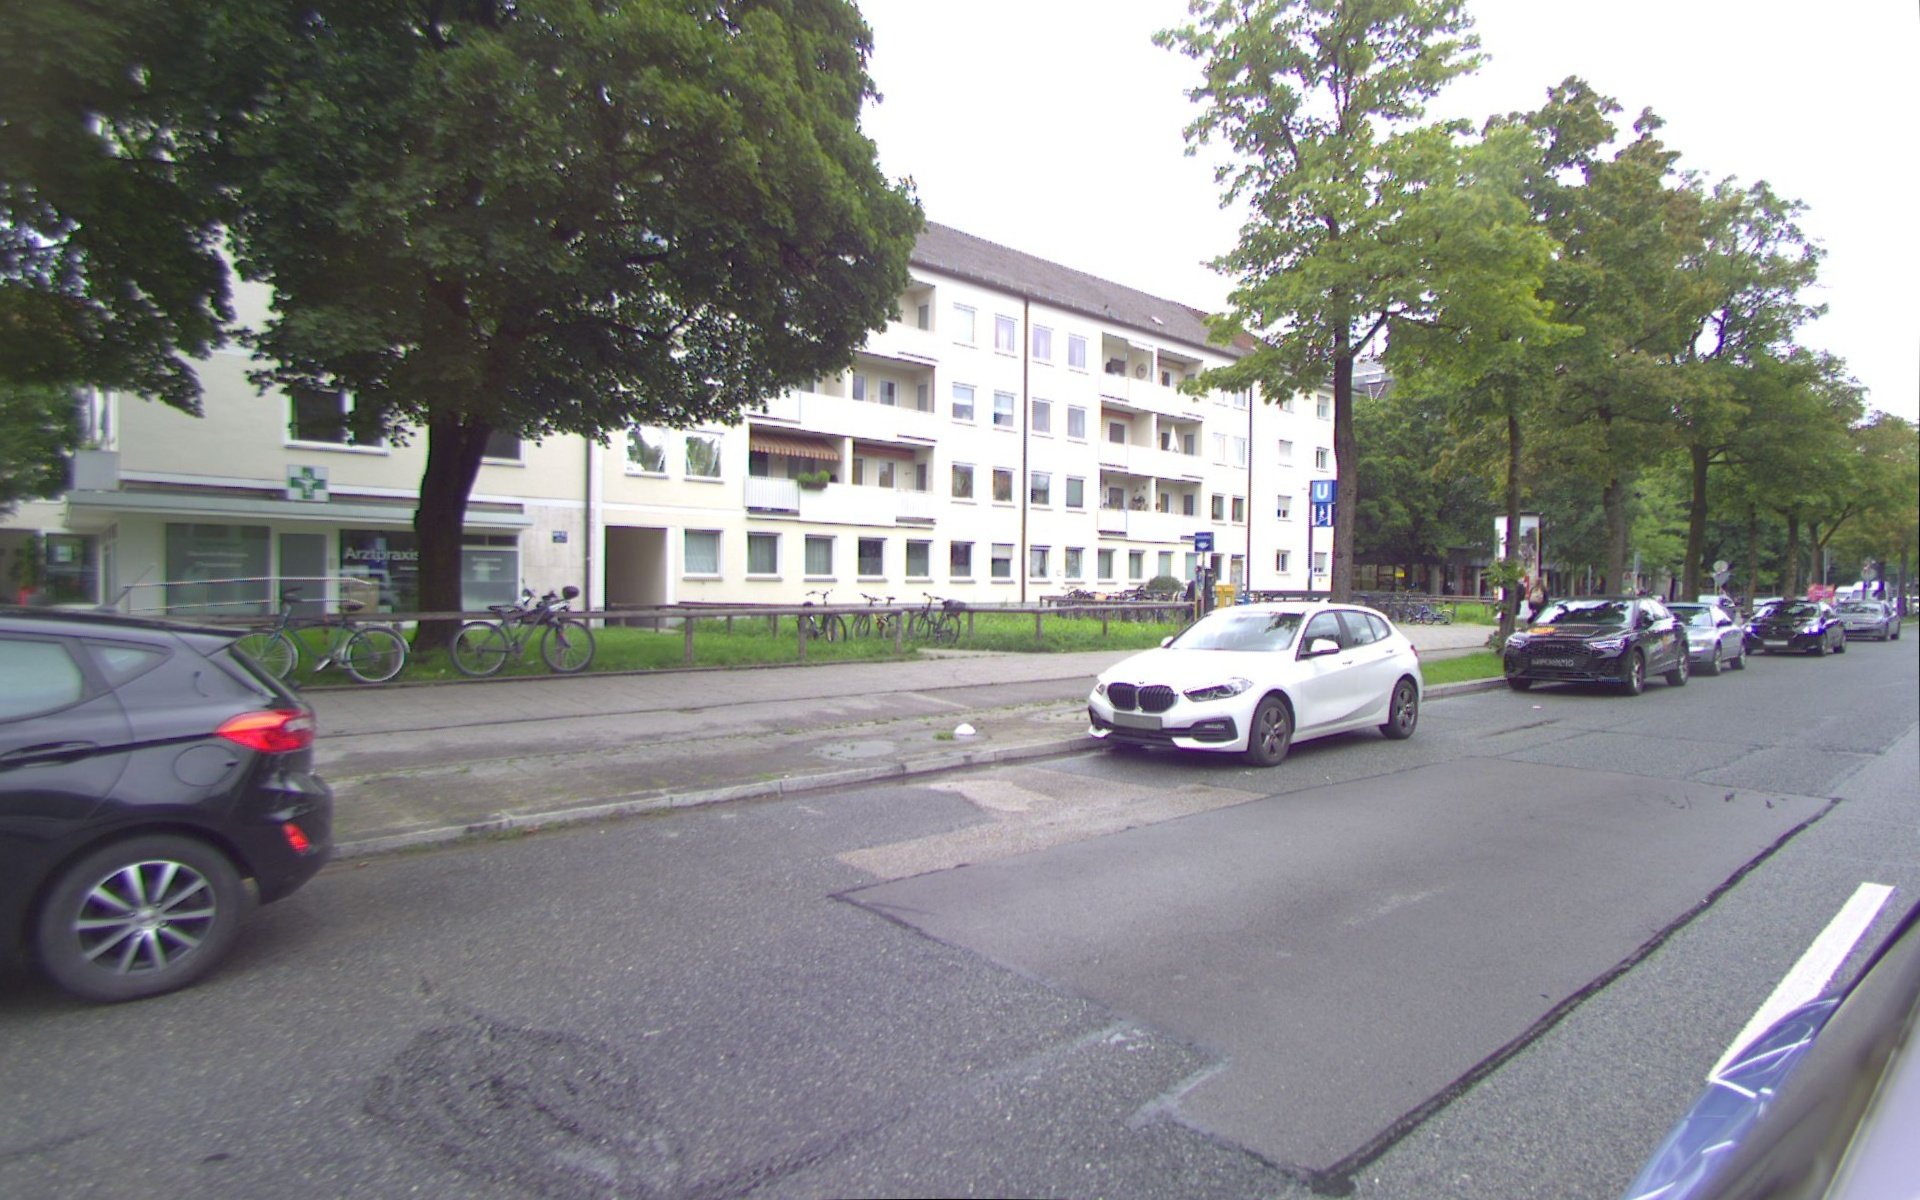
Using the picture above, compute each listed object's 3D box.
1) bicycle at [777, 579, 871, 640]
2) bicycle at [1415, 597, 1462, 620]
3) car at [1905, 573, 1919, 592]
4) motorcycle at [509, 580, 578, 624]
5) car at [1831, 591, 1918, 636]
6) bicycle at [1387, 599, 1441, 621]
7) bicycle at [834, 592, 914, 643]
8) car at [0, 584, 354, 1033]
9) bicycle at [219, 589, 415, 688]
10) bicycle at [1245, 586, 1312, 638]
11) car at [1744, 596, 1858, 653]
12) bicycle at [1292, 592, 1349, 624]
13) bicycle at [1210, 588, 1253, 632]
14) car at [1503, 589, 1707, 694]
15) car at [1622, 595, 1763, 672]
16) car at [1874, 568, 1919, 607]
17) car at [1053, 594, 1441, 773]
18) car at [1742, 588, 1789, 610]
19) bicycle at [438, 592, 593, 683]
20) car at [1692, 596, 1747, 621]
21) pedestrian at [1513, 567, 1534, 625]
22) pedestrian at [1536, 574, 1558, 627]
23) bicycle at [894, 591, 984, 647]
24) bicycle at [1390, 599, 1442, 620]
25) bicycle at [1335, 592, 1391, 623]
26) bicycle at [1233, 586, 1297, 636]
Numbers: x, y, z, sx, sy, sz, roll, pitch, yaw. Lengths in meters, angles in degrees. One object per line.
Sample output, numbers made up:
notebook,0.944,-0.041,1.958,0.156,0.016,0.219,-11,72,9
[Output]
bicycle,-2.569,0.147,18.970,0.653,1.081,2.027,0,1,-45
bicycle,16.890,0.282,35.730,0.490,0.722,1.389,0,3,-45
car,126.595,-2.295,133.791,4.915,2.485,1.996,0,1,-43
motorcycle,-11.107,0.043,26.990,1.593,1.134,0.606,0,1,-41
car,32.893,0.443,36.351,4.225,1.487,1.825,0,1,-41
bicycle,15.575,0.329,34.762,0.490,0.645,1.596,0,4,-45
bicycle,-1.969,0.367,22.864,0.653,1.081,2.027,0,1,-45
car,-4.423,0.685,3.384,3.887,1.496,1.647,0,0,-41
bicycle,-7.177,0.395,11.360,1.820,1.028,0.448,0,1,-41
bicycle,7.648,0.272,24.243,2.039,1.203,0.545,0,1,-41
car,22.643,0.595,27.188,4.227,1.397,1.824,0,1,-43
bicycle,11.061,0.242,31.056,0.490,0.927,1.595,0,1,-45
bicycle,7.161,0.244,26.651,1.231,1.130,0.466,0,1,-41
car,10.781,0.585,16.817,4.086,1.530,1.824,0,1,-42
car,15.009,0.618,20.667,3.860,1.397,1.615,0,1,-43
car,61.757,-0.844,66.412,4.912,2.485,1.997,-1,0,-41
car,3.071,0.690,10.378,4.212,1.455,1.824,0,-1,-41
car,56.200,-0.105,70.610,4.225,1.486,1.826,0,1,-41
bicycle,-5.603,0.446,12.821,1.738,1.068,0.470,-1,0,-42
car,46.342,0.499,61.737,4.225,1.487,1.825,0,1,-41
pedestrian,17.573,-0.133,31.578,0.555,1.778,0.651,1,0,29
pedestrian,18.067,0.003,31.140,0.555,1.625,0.515,1,0,30
bicycle,-0.457,0.374,21.085,0.653,1.081,2.027,0,1,-45
bicycle,16.007,0.322,35.519,0.490,0.704,1.595,0,1,-45
bicycle,12.950,0.221,32.575,0.490,0.927,1.596,0,2,-45
bicycle,7.696,0.257,25.493,2.039,1.203,0.545,0,1,-41
